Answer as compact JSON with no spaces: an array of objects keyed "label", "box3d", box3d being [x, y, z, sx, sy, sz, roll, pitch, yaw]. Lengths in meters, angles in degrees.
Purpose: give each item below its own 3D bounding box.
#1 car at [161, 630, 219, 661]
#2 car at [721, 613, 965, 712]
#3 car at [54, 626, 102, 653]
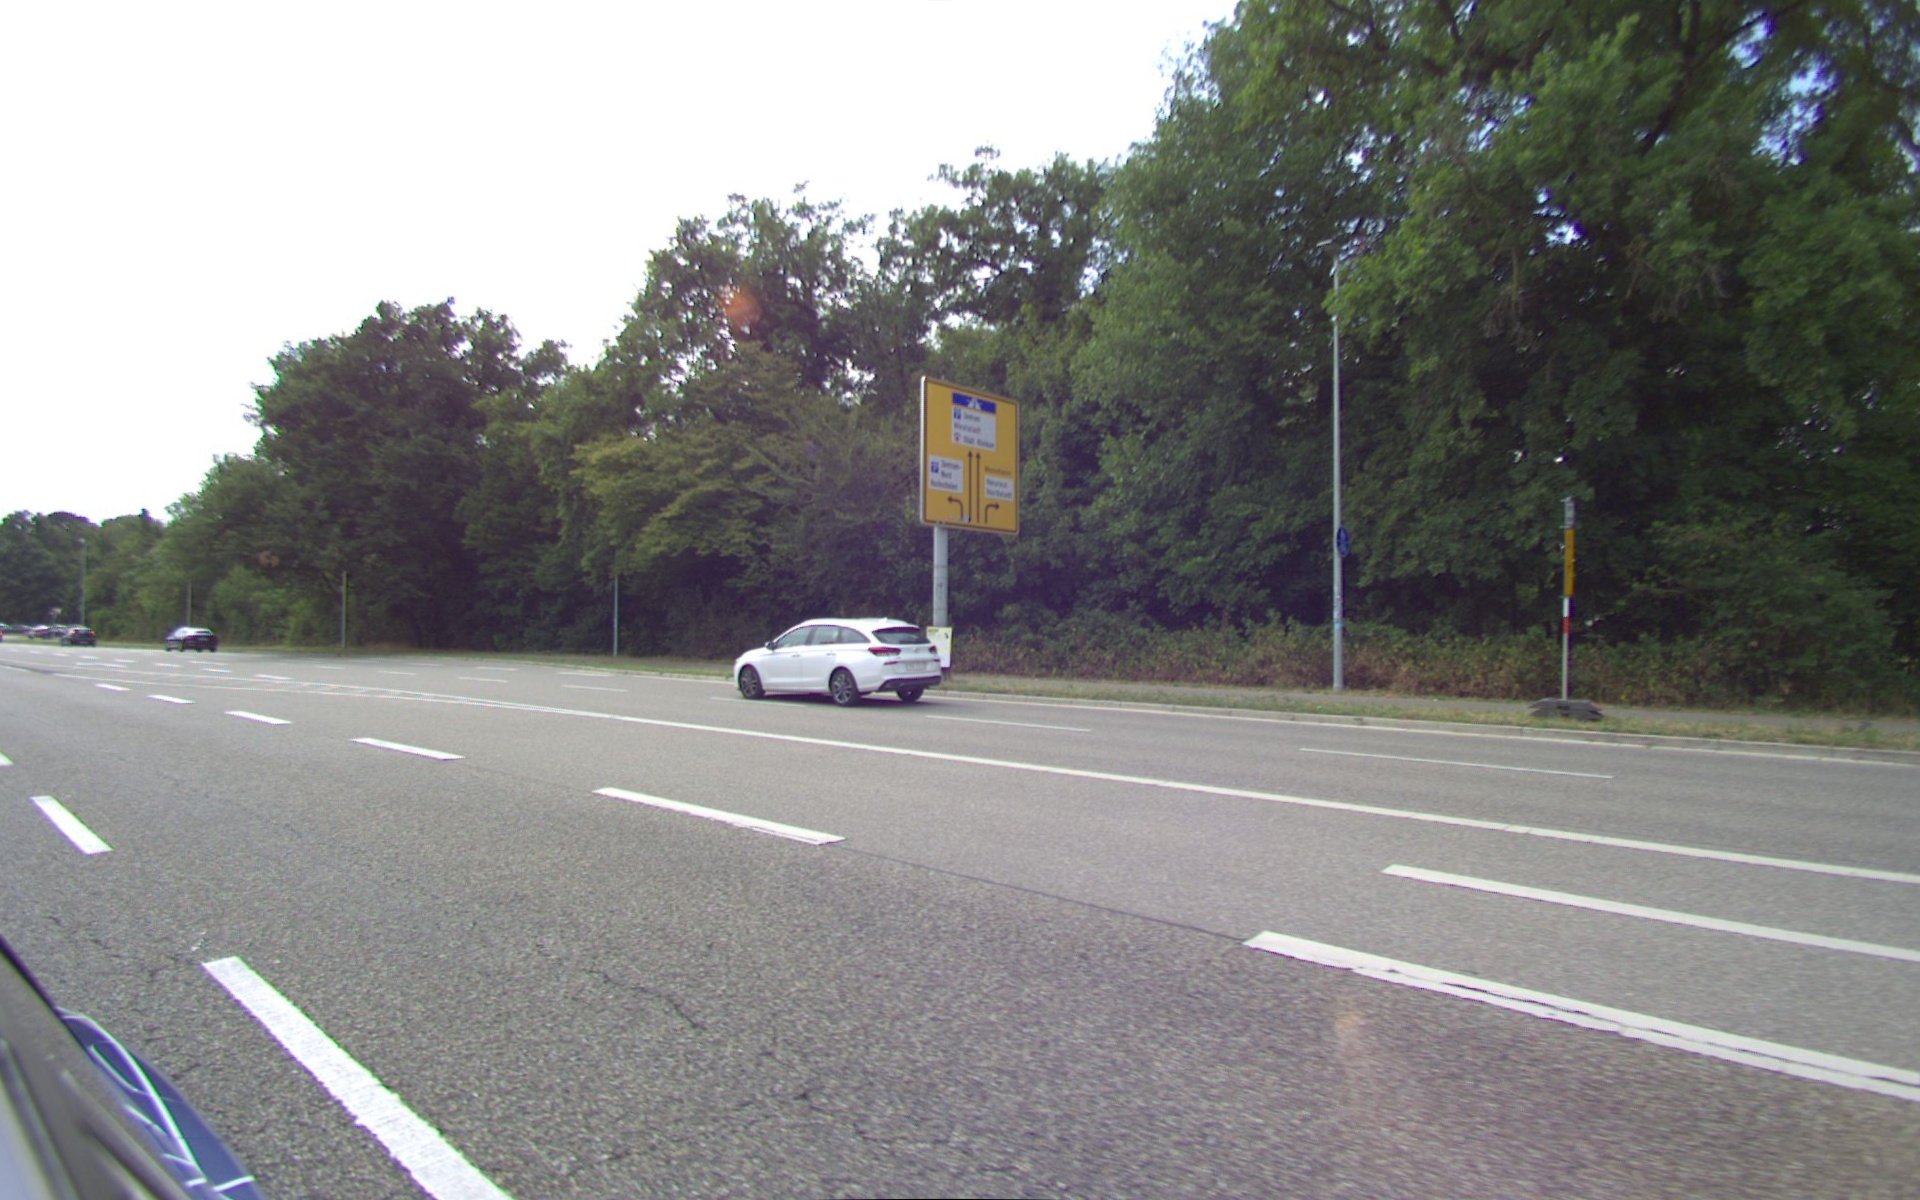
[{"label":"car","box3d":[-45.303,2.661,59.517,3.998,1.606,1.973,-1,1,42]},{"label":"car","box3d":[-2.241,1.030,18.514,4.592,1.511,1.913,-1,1,43]},{"label":"car","box3d":[-66.864,2.950,76.683,3.994,1.896,1.975,-1,1,37]}]
